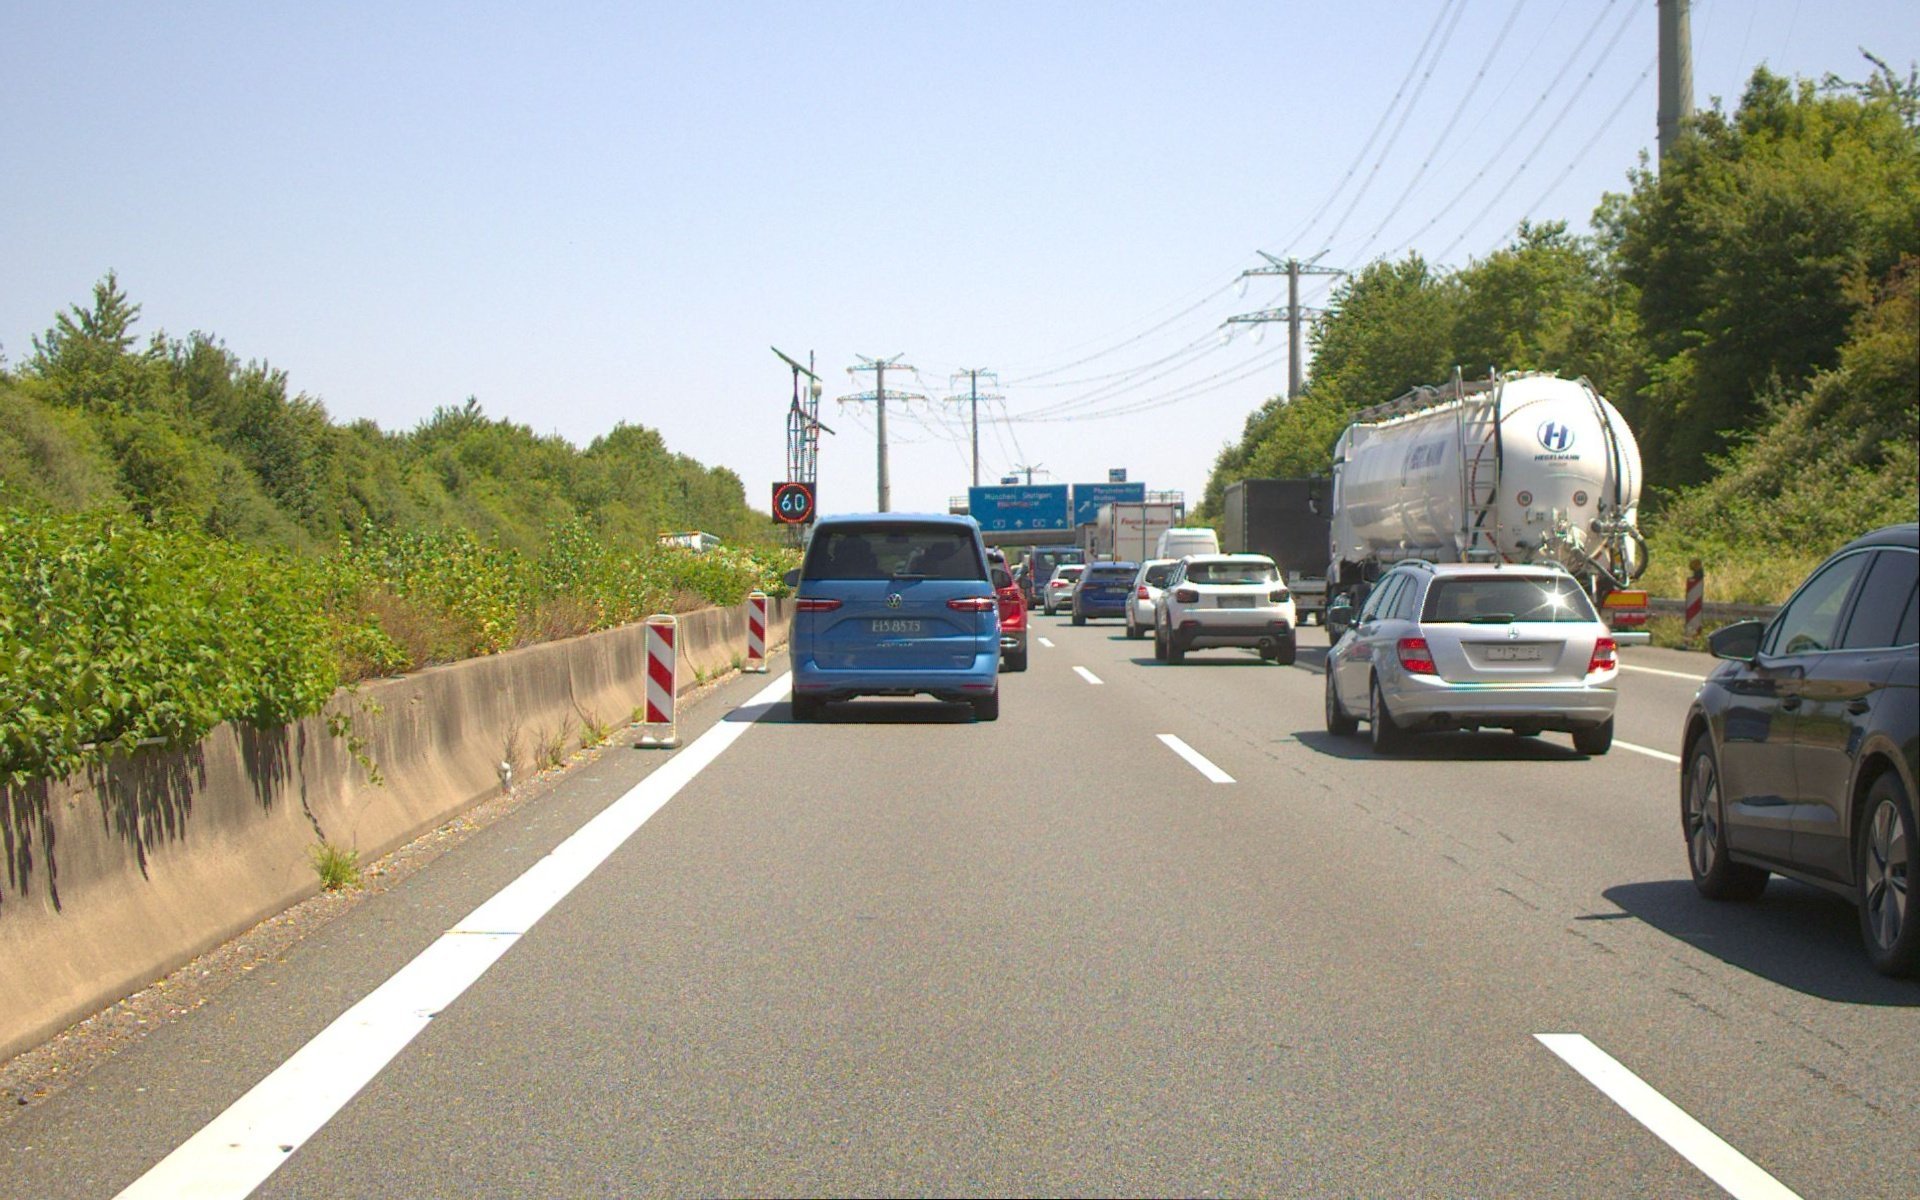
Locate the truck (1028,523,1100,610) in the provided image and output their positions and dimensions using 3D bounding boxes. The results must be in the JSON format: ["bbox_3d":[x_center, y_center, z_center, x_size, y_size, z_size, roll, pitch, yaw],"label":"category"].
[{"bbox_3d":[3.325,-1.078,110.851,1.993,2.714,5.680,1,1,-1],"label":"truck"}]

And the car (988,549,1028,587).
[{"bbox_3d":[2.566,-1.715,184.198,1.993,2.007,4.000,1,1,-1],"label":"car"}]

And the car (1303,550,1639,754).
[{"bbox_3d":[3.889,0.350,26.861,1.821,1.432,4.384,1,1,-2],"label":"car"}]

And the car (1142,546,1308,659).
[{"bbox_3d":[3.711,0.014,48.782,1.908,1.503,3.922,1,1,-2],"label":"car"}]

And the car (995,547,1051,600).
[{"bbox_3d":[2.432,-1.049,134.035,1.993,2.007,4.000,1,1,-1],"label":"car"}]

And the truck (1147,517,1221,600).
[{"bbox_3d":[7.481,-1.386,115.366,1.993,2.714,5.680,1,1,-1],"label":"truck"}]

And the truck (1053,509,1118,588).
[{"bbox_3d":[7.055,-2.875,194.652,2.938,4.276,12.552,1,1,-1],"label":"truck"}]

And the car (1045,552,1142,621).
[{"bbox_3d":[3.050,-0.327,79.276,1.908,1.511,4.384,1,1,-2],"label":"car"}]

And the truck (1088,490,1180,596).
[{"bbox_3d":[7.279,-2.369,145.472,2.938,4.276,12.552,1,1,-1],"label":"truck"}]

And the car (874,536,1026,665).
[{"bbox_3d":[-0.170,-0.013,45.614,1.908,1.625,4.384,0,1,-1],"label":"car"}]

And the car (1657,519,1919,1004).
[{"bbox_3d":[4.075,0.513,13.185,1.828,1.609,4.431,0,1,-1],"label":"car"}]

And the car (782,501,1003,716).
[{"bbox_3d":[-0.708,0.052,32.450,1.871,1.873,4.384,1,1,-4],"label":"car"}]

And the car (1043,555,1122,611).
[{"bbox_3d":[3.413,-0.484,96.576,1.908,1.511,4.384,1,1,-2],"label":"car"}]

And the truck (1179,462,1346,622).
[{"bbox_3d":[7.126,-1.353,82.619,2.644,3.526,12.552,1,1,-1],"label":"truck"}]

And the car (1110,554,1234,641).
[{"bbox_3d":[3.953,-0.072,64.853,1.908,1.564,4.384,1,1,-2],"label":"car"}]

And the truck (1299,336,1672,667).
[{"bbox_3d":[7.317,-1.302,50.749,2.644,4.058,16.442,1,1,-1],"label":"truck"}]
